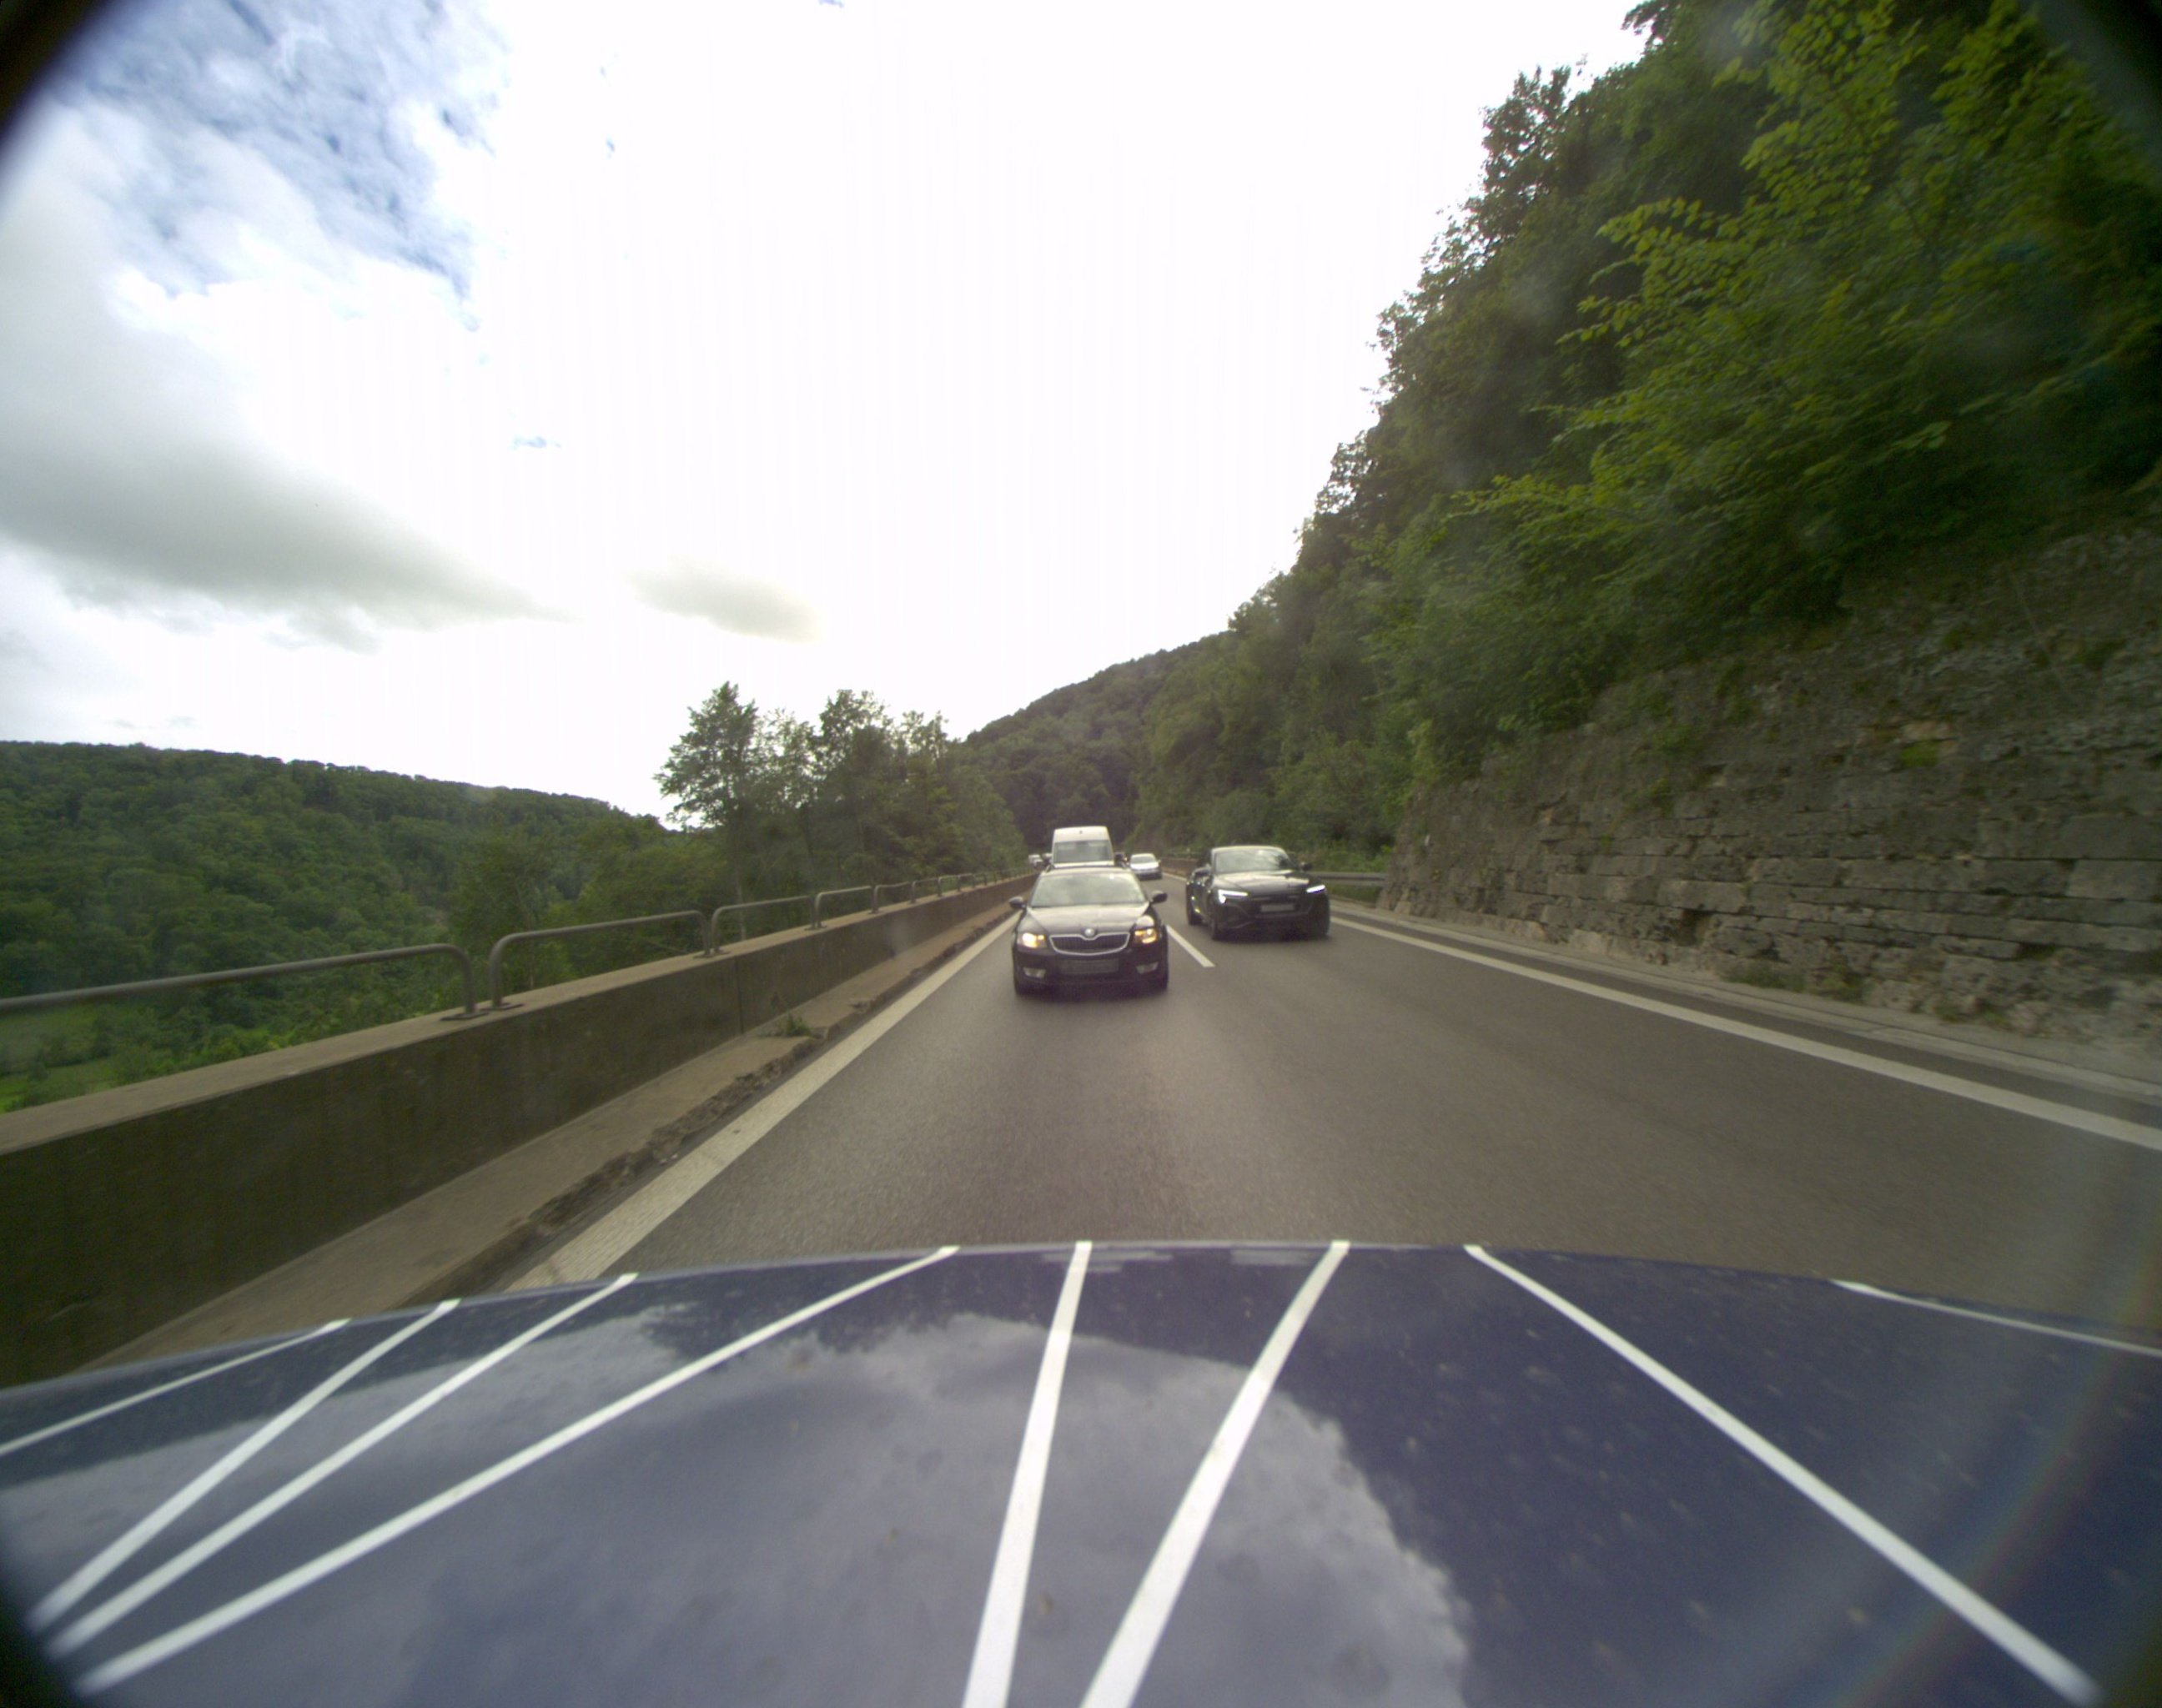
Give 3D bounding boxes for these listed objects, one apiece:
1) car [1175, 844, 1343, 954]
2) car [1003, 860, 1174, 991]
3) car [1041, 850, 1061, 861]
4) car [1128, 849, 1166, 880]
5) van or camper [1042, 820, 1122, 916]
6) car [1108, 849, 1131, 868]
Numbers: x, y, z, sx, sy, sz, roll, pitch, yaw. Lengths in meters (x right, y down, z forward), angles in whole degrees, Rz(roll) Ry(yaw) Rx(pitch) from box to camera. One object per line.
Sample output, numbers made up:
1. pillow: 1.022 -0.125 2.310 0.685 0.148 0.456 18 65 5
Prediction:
1. car: 3.111 0.696 14.457 1.998 1.622 5.008 -3 0 1
2. car: 0.124 0.897 11.864 1.998 1.389 5.008 -5 0 1
3. car: -6.229 0.361 158.057 2.002 2.002 3.991 -8 2 -34
4. car: 3.683 0.543 43.000 1.685 1.506 4.583 -5 1 1
5. van or camper: 0.043 0.398 24.468 2.081 2.575 5.911 -4 0 0
6. car: 3.886 0.428 77.323 1.813 1.646 4.582 -8 0 -1
